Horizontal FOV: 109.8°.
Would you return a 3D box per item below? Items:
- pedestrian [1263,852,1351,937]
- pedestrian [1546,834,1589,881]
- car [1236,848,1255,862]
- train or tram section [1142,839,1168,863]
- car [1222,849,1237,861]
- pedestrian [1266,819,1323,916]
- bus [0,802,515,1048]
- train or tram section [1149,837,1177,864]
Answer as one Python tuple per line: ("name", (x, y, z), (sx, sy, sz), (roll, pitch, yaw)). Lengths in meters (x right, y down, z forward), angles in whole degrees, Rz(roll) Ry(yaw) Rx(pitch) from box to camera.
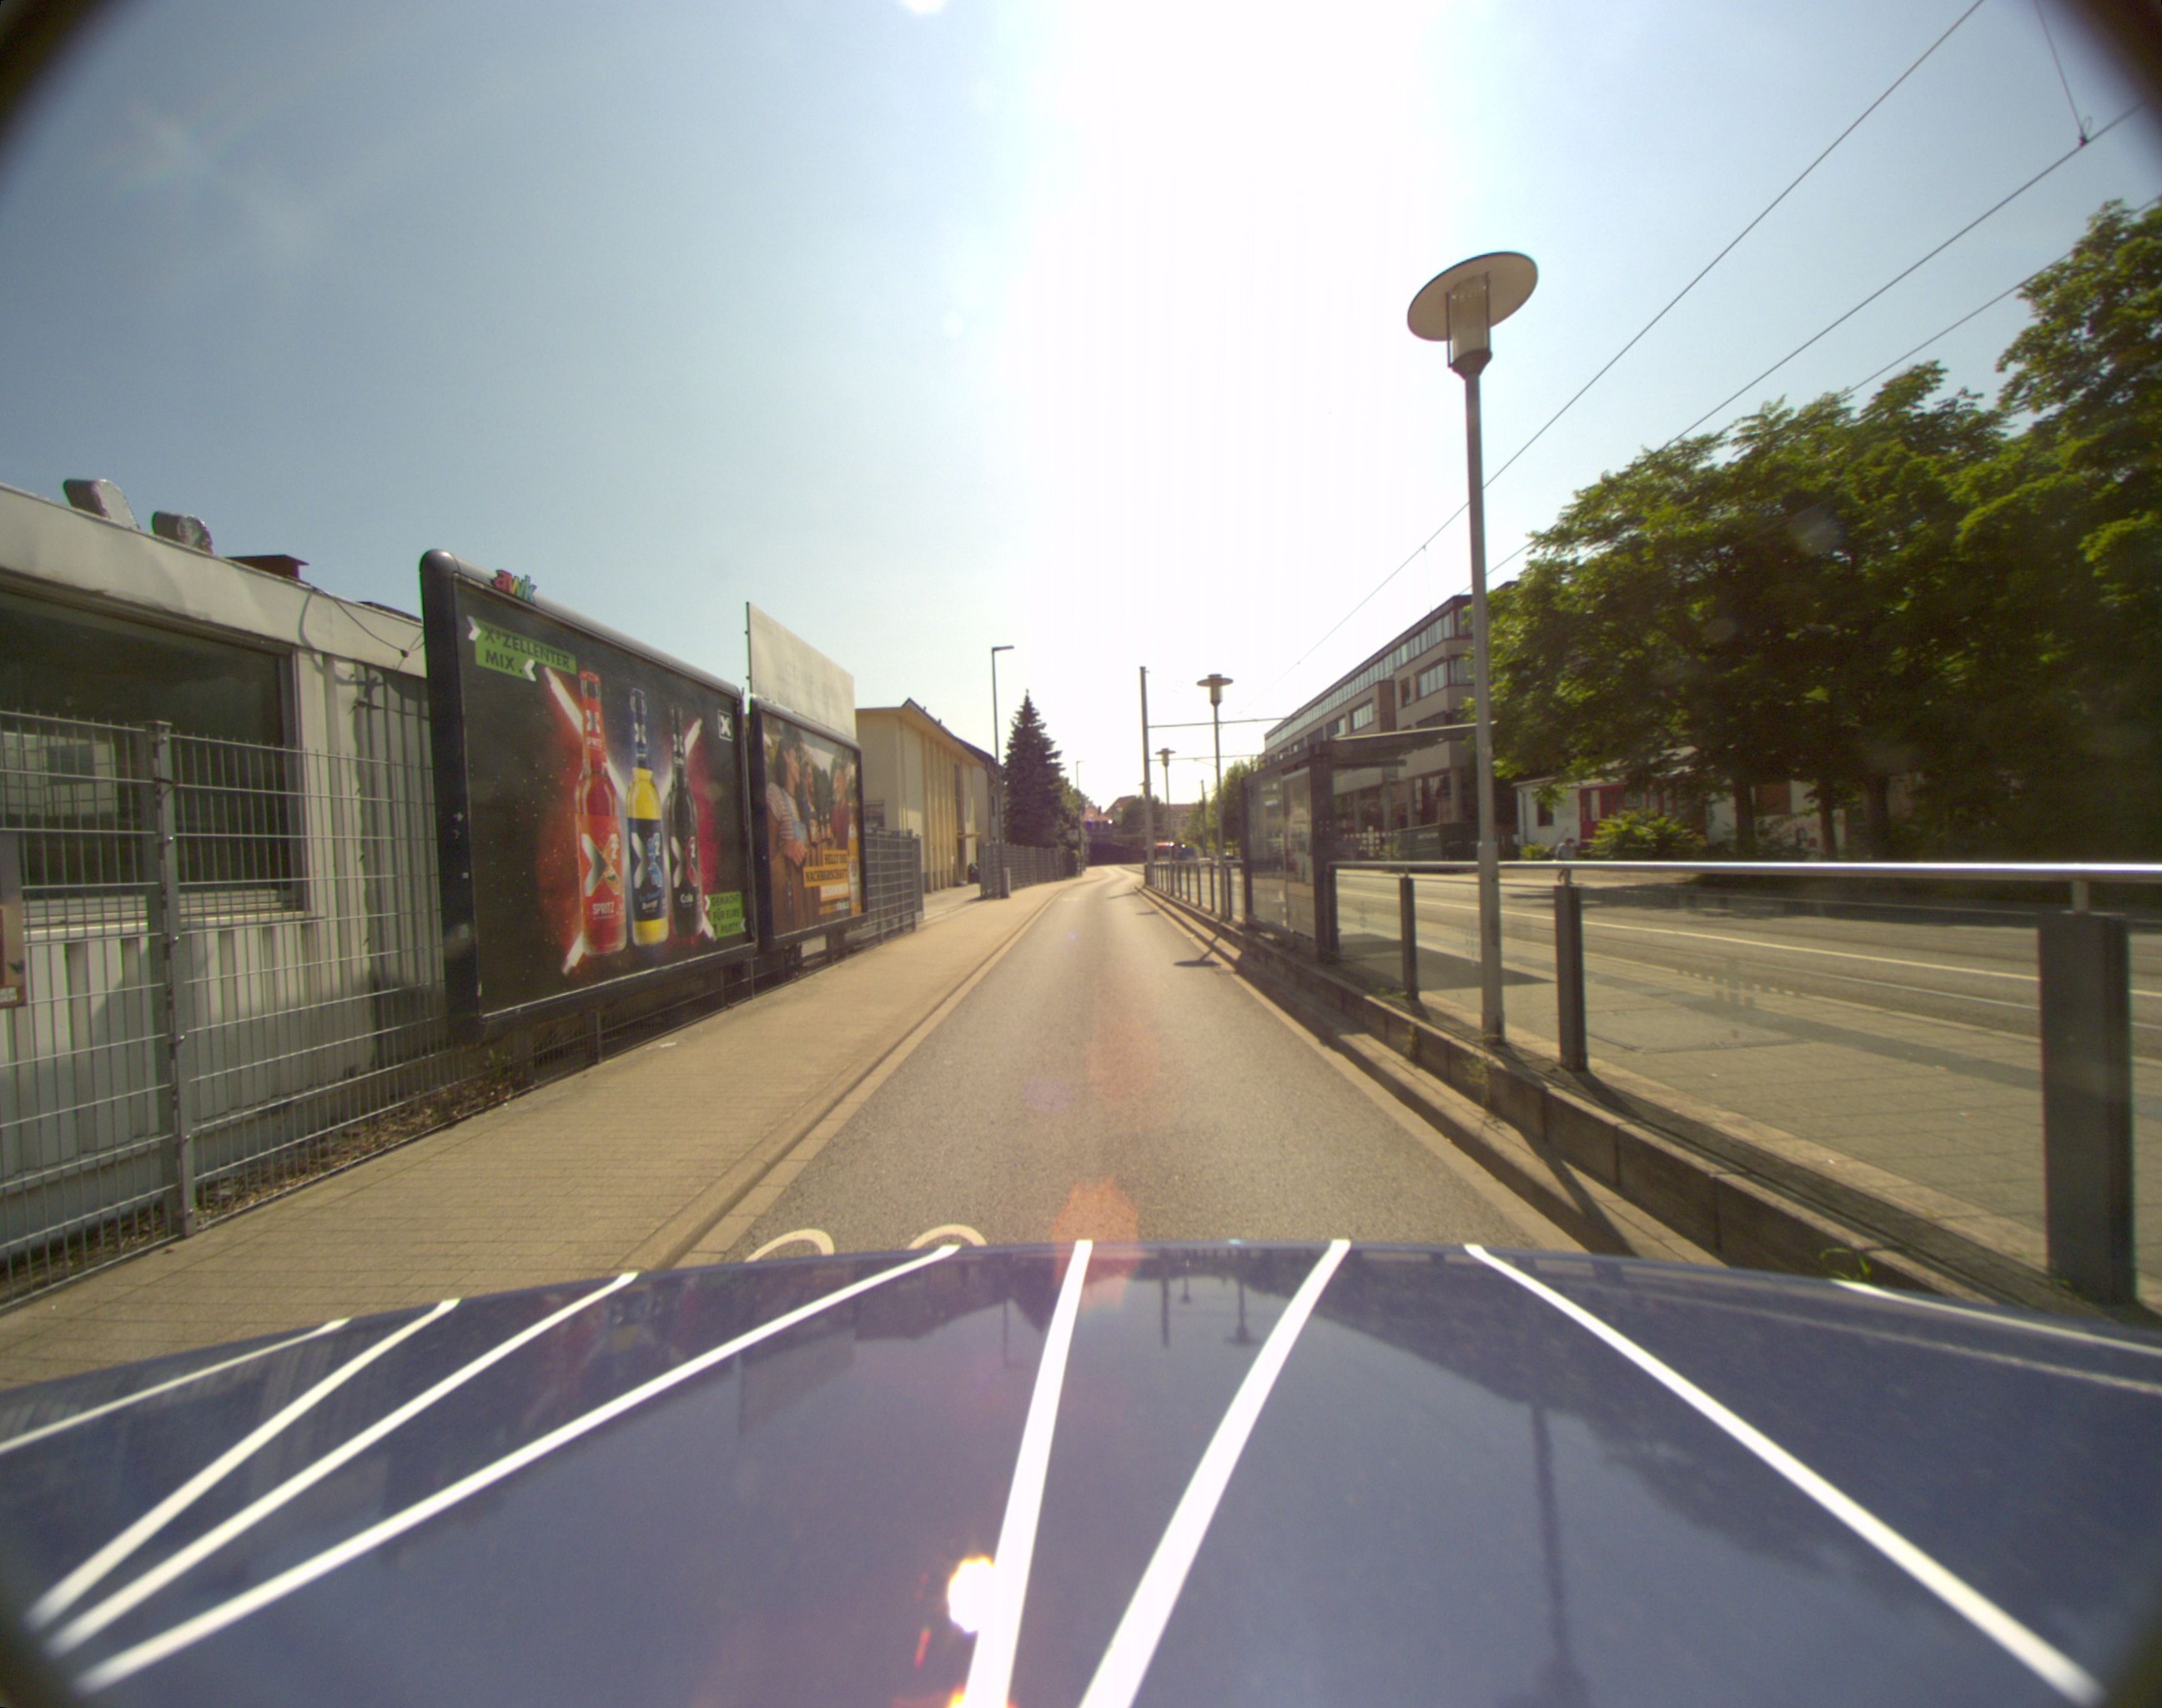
("pedestrian", (3.130, 0.545, 10.587), (0.945, 1.093, 0.726), (-3, 0, 1))
("pedestrian", (16.399, 0.119, 25.627), (0.873, 1.518, 0.846), (-2, 0, 0))
("car", (20.884, 0.129, 96.593), (1.997, 1.613, 4.003), (-2, 0, 8))
("train or tram section", (11.311, -0.439, 117.134), (2.680, 3.464, 13.390), (-2, 0, 1))
("car", (20.327, 0.160, 104.123), (1.870, 1.608, 4.003), (-2, 0, 8))
("pedestrian", (3.971, 0.255, 14.221), (0.725, 1.714, 0.945), (-3, 0, 1))
("bus", (-15.100, 0.856, 13.042), (2.571, 3.154, 10.266), (-2, 2, 2))
("train or tram section", (11.126, -0.462, 104.301), (2.680, 3.464, 12.328), (-2, 0, 1))
